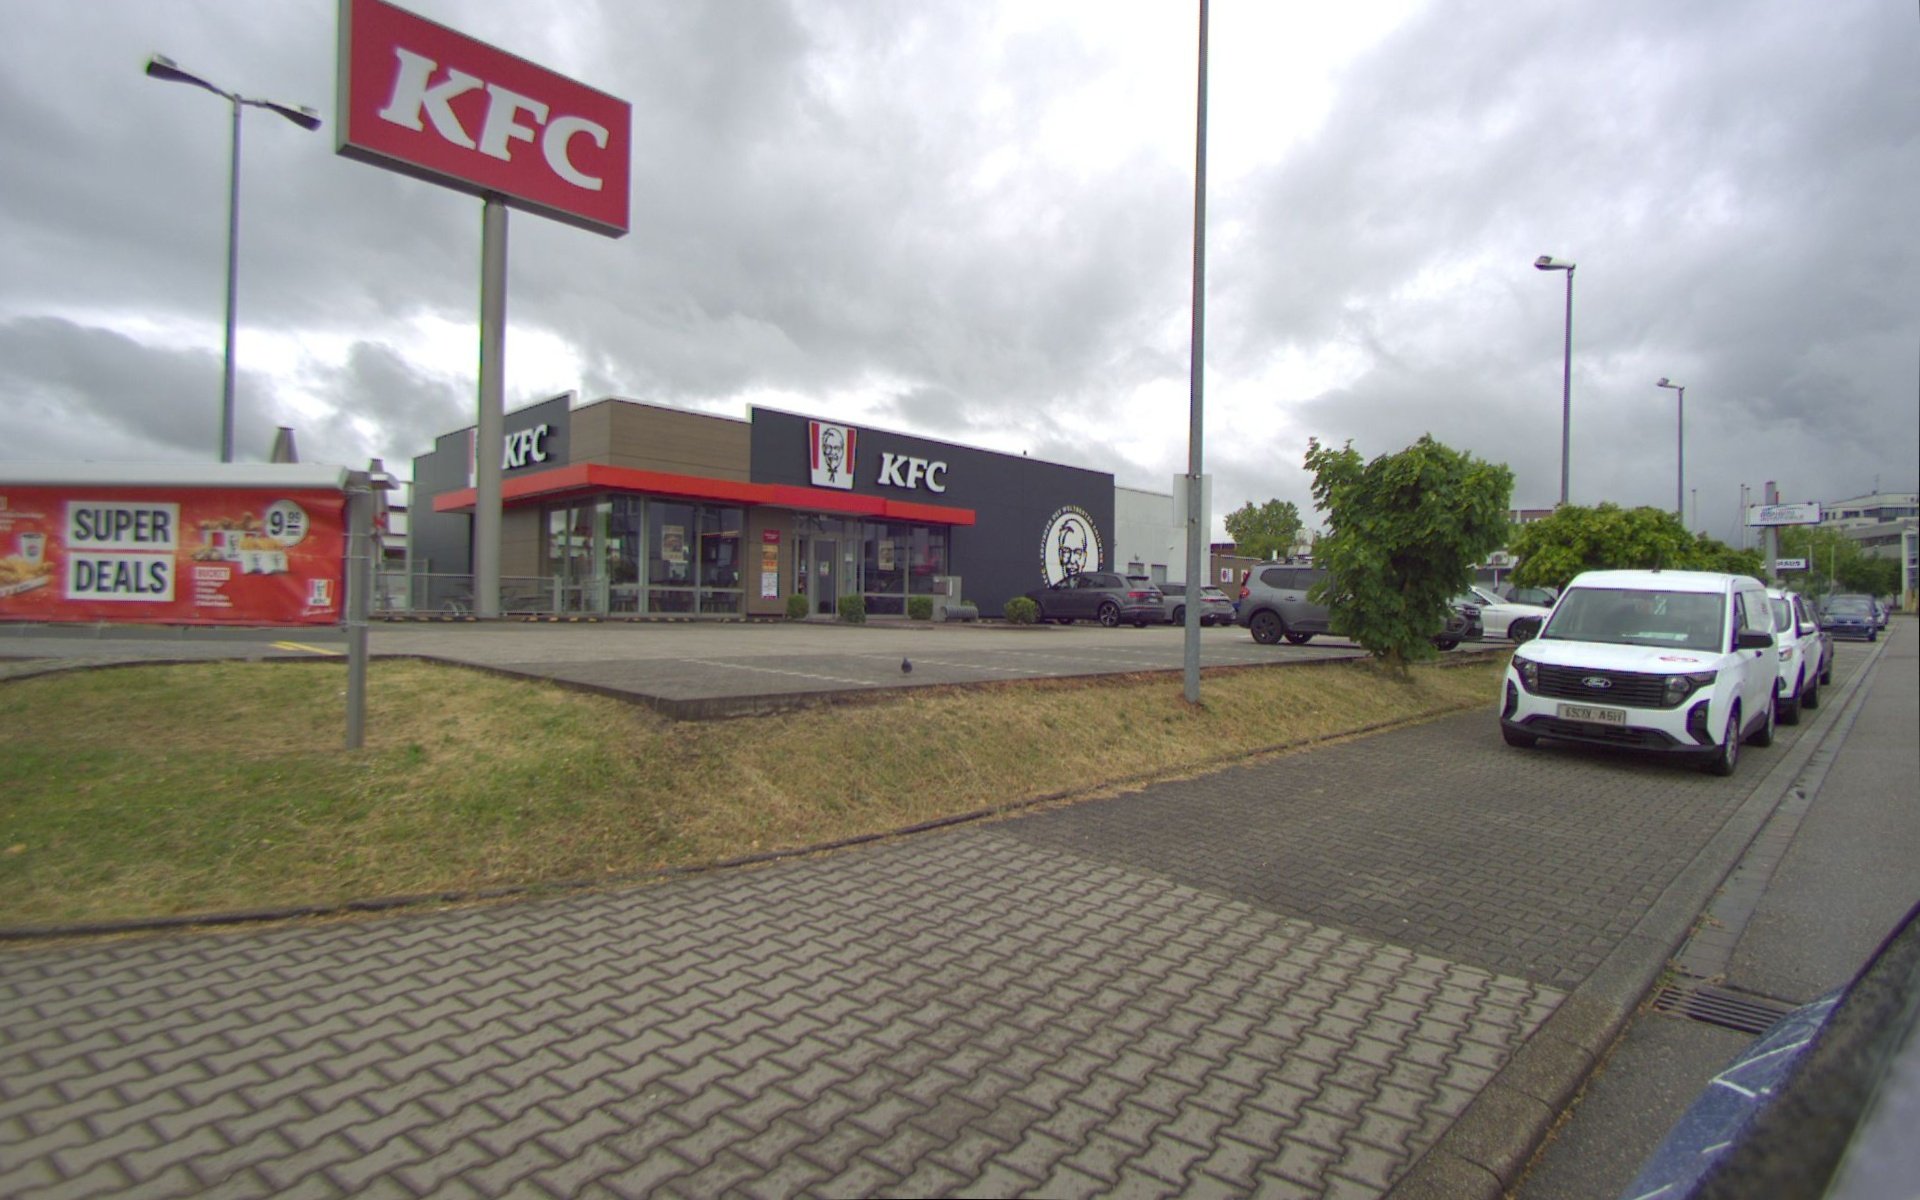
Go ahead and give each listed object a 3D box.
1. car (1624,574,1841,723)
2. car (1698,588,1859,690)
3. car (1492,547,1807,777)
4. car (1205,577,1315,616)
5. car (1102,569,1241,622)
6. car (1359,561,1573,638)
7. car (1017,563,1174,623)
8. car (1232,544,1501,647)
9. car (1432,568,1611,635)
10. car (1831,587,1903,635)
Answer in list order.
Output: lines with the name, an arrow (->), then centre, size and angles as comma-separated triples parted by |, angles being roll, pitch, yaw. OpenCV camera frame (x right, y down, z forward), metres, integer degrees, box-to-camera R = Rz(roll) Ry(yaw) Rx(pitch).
car -> 10.612, 0.539, 13.800 | 3.934, 1.730, 1.819 | -1, 1, -44
car -> 14.719, 0.597, 18.122 | 3.934, 1.618, 1.819 | -1, 1, -44
car -> 7.002, 0.440, 10.098 | 4.180, 1.805, 1.794 | -1, 3, -45
car -> 12.294, -0.175, 41.591 | 4.015, 1.504, 1.716 | 1, 1, 39
car -> 7.355, -0.170, 35.483 | 4.483, 1.762, 1.865 | 0, 1, 41
car -> 12.524, -0.037, 25.208 | 4.483, 1.762, 1.865 | 0, 1, 41
car -> 4.219, -0.244, 32.038 | 4.723, 1.762, 1.865 | 0, 1, 41
car -> 7.729, -0.099, 19.503 | 4.483, 1.762, 1.865 | 0, 1, 41
car -> 15.969, 0.010, 28.912 | 4.171, 1.797, 1.853 | 0, 1, 43
car -> 34.633, 0.385, 38.623 | 3.934, 1.730, 1.819 | -1, 1, -44
